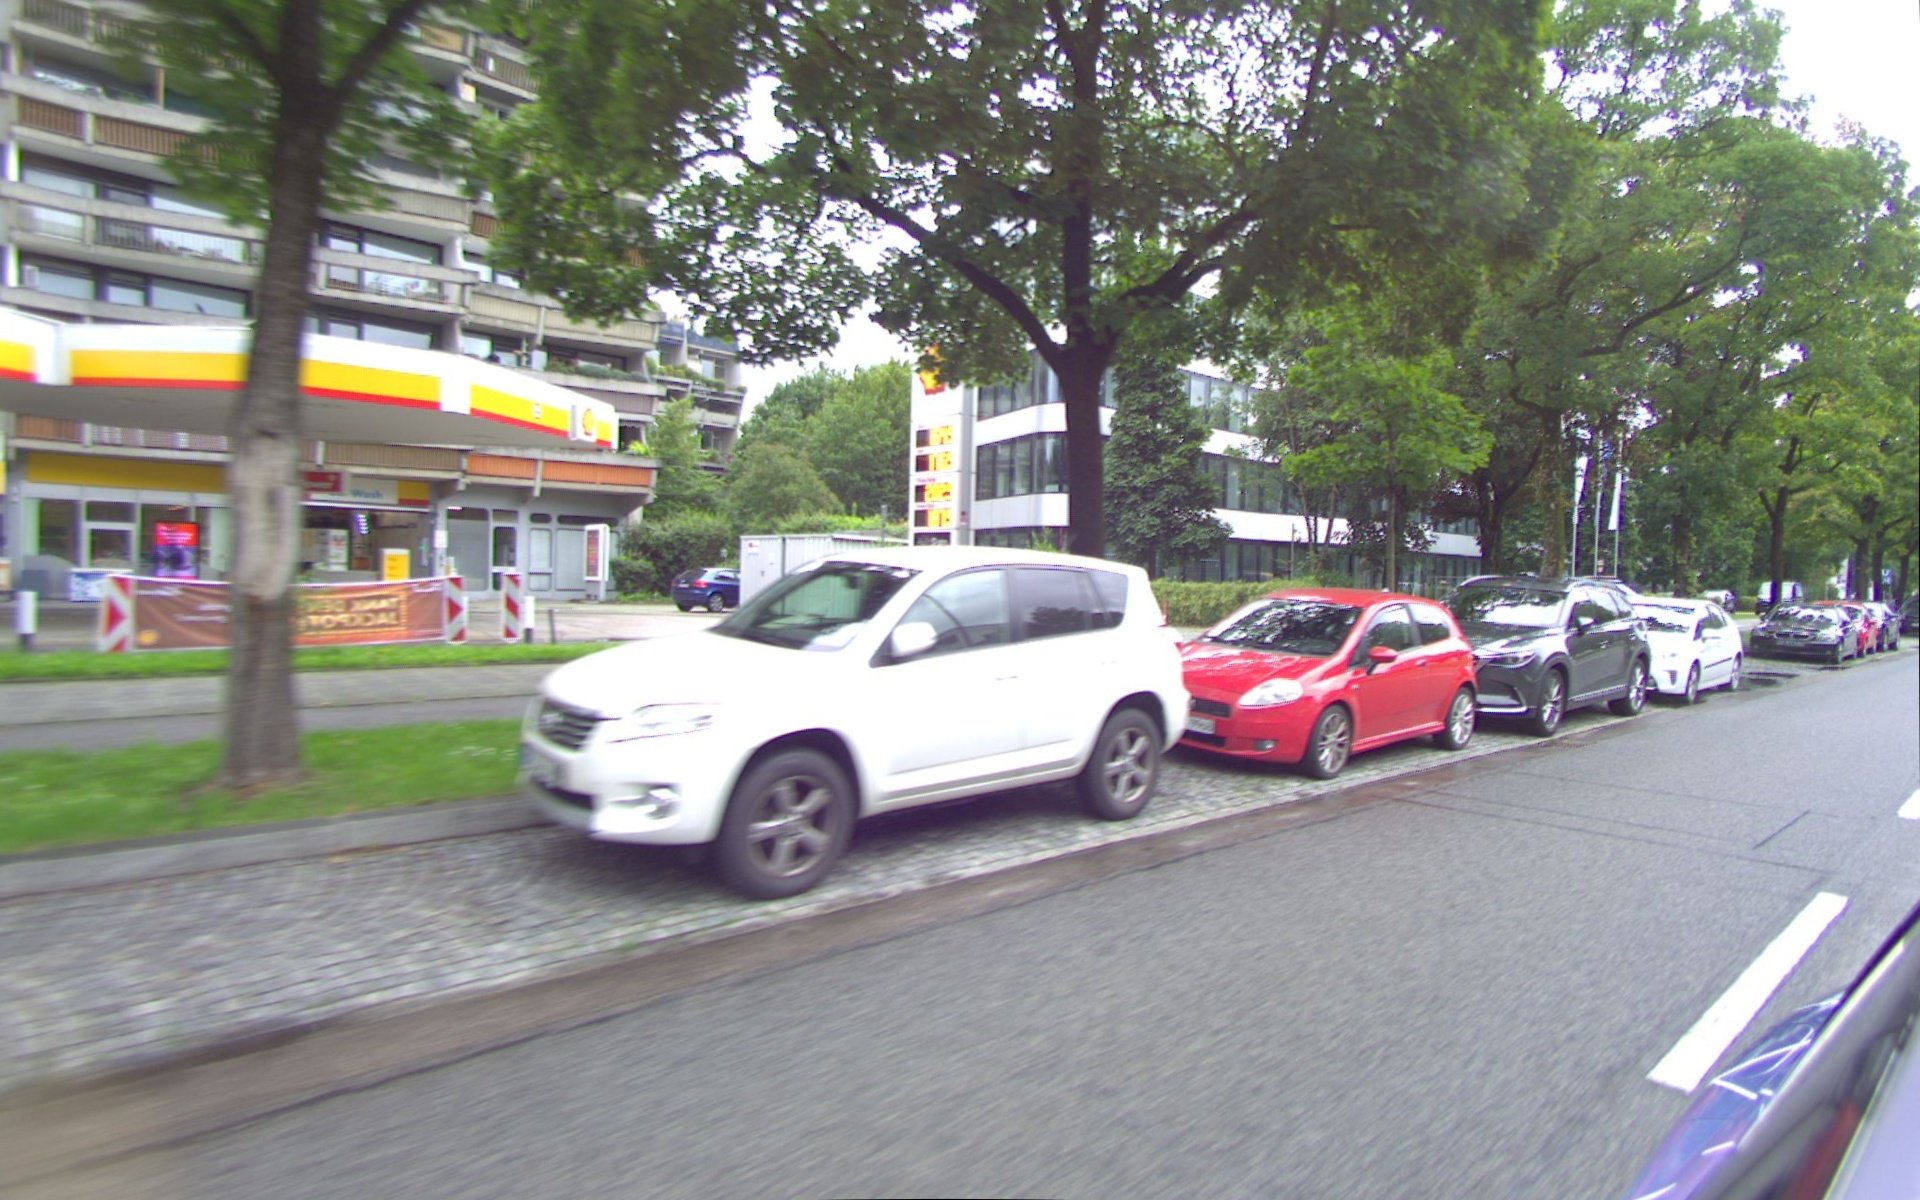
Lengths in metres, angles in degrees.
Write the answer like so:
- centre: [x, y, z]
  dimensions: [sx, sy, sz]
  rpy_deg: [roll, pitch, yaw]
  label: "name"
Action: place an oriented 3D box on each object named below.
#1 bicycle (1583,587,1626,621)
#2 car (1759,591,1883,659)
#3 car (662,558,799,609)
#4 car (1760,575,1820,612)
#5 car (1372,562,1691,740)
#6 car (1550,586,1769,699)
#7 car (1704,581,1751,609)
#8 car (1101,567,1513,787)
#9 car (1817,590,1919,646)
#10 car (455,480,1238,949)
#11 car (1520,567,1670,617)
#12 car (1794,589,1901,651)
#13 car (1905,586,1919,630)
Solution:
- centre: [23.861, 0.142, 37.452]
  dimensions: [2.207, 1.197, 0.750]
  rpy_deg: [0, 2, -41]
  label: "bicycle"
- centre: [21.731, 0.574, 25.476]
  dimensions: [4.502, 1.471, 1.679]
  rpy_deg: [0, 4, -41]
  label: "car"
- centre: [-7.368, -0.530, 32.679]
  dimensions: [1.885, 1.539, 3.937]
  rpy_deg: [3, 2, 43]
  label: "car"
- centre: [56.852, -0.453, 69.270]
  dimensions: [6.162, 2.335, 2.268]
  rpy_deg: [0, 2, -43]
  label: "car"
- centre: [7.213, 0.491, 12.503]
  dimensions: [5.139, 1.719, 1.764]
  rpy_deg: [0, 4, -41]
  label: "car"
- centre: [11.268, 0.581, 16.171]
  dimensions: [4.552, 1.471, 1.764]
  rpy_deg: [0, 4, -41]
  label: "car"
- centre: [54.239, -0.353, 71.474]
  dimensions: [4.396, 1.840, 1.845]
  rpy_deg: [0, 2, -43]
  label: "car"
- centre: [3.347, 0.545, 9.381]
  dimensions: [4.071, 1.525, 1.764]
  rpy_deg: [0, 4, -41]
  label: "car"
- centre: [28.226, 0.526, 31.315]
  dimensions: [4.208, 1.529, 1.784]
  rpy_deg: [0, 4, -39]
  label: "car"
- centre: [-0.389, 0.398, 6.116]
  dimensions: [4.449, 1.852, 1.764]
  rpy_deg: [0, 4, -41]
  label: "car"
- centre: [29.276, -0.414, 46.829]
  dimensions: [2.110, 2.109, 5.480]
  rpy_deg: [0, 2, -41]
  label: "car"
- centre: [24.945, 0.528, 28.407]
  dimensions: [3.951, 1.519, 1.679]
  rpy_deg: [0, 4, -41]
  label: "car"
- centre: [42.341, 0.373, 43.573]
  dimensions: [4.777, 1.822, 1.896]
  rpy_deg: [0, 2, -42]
  label: "car"
